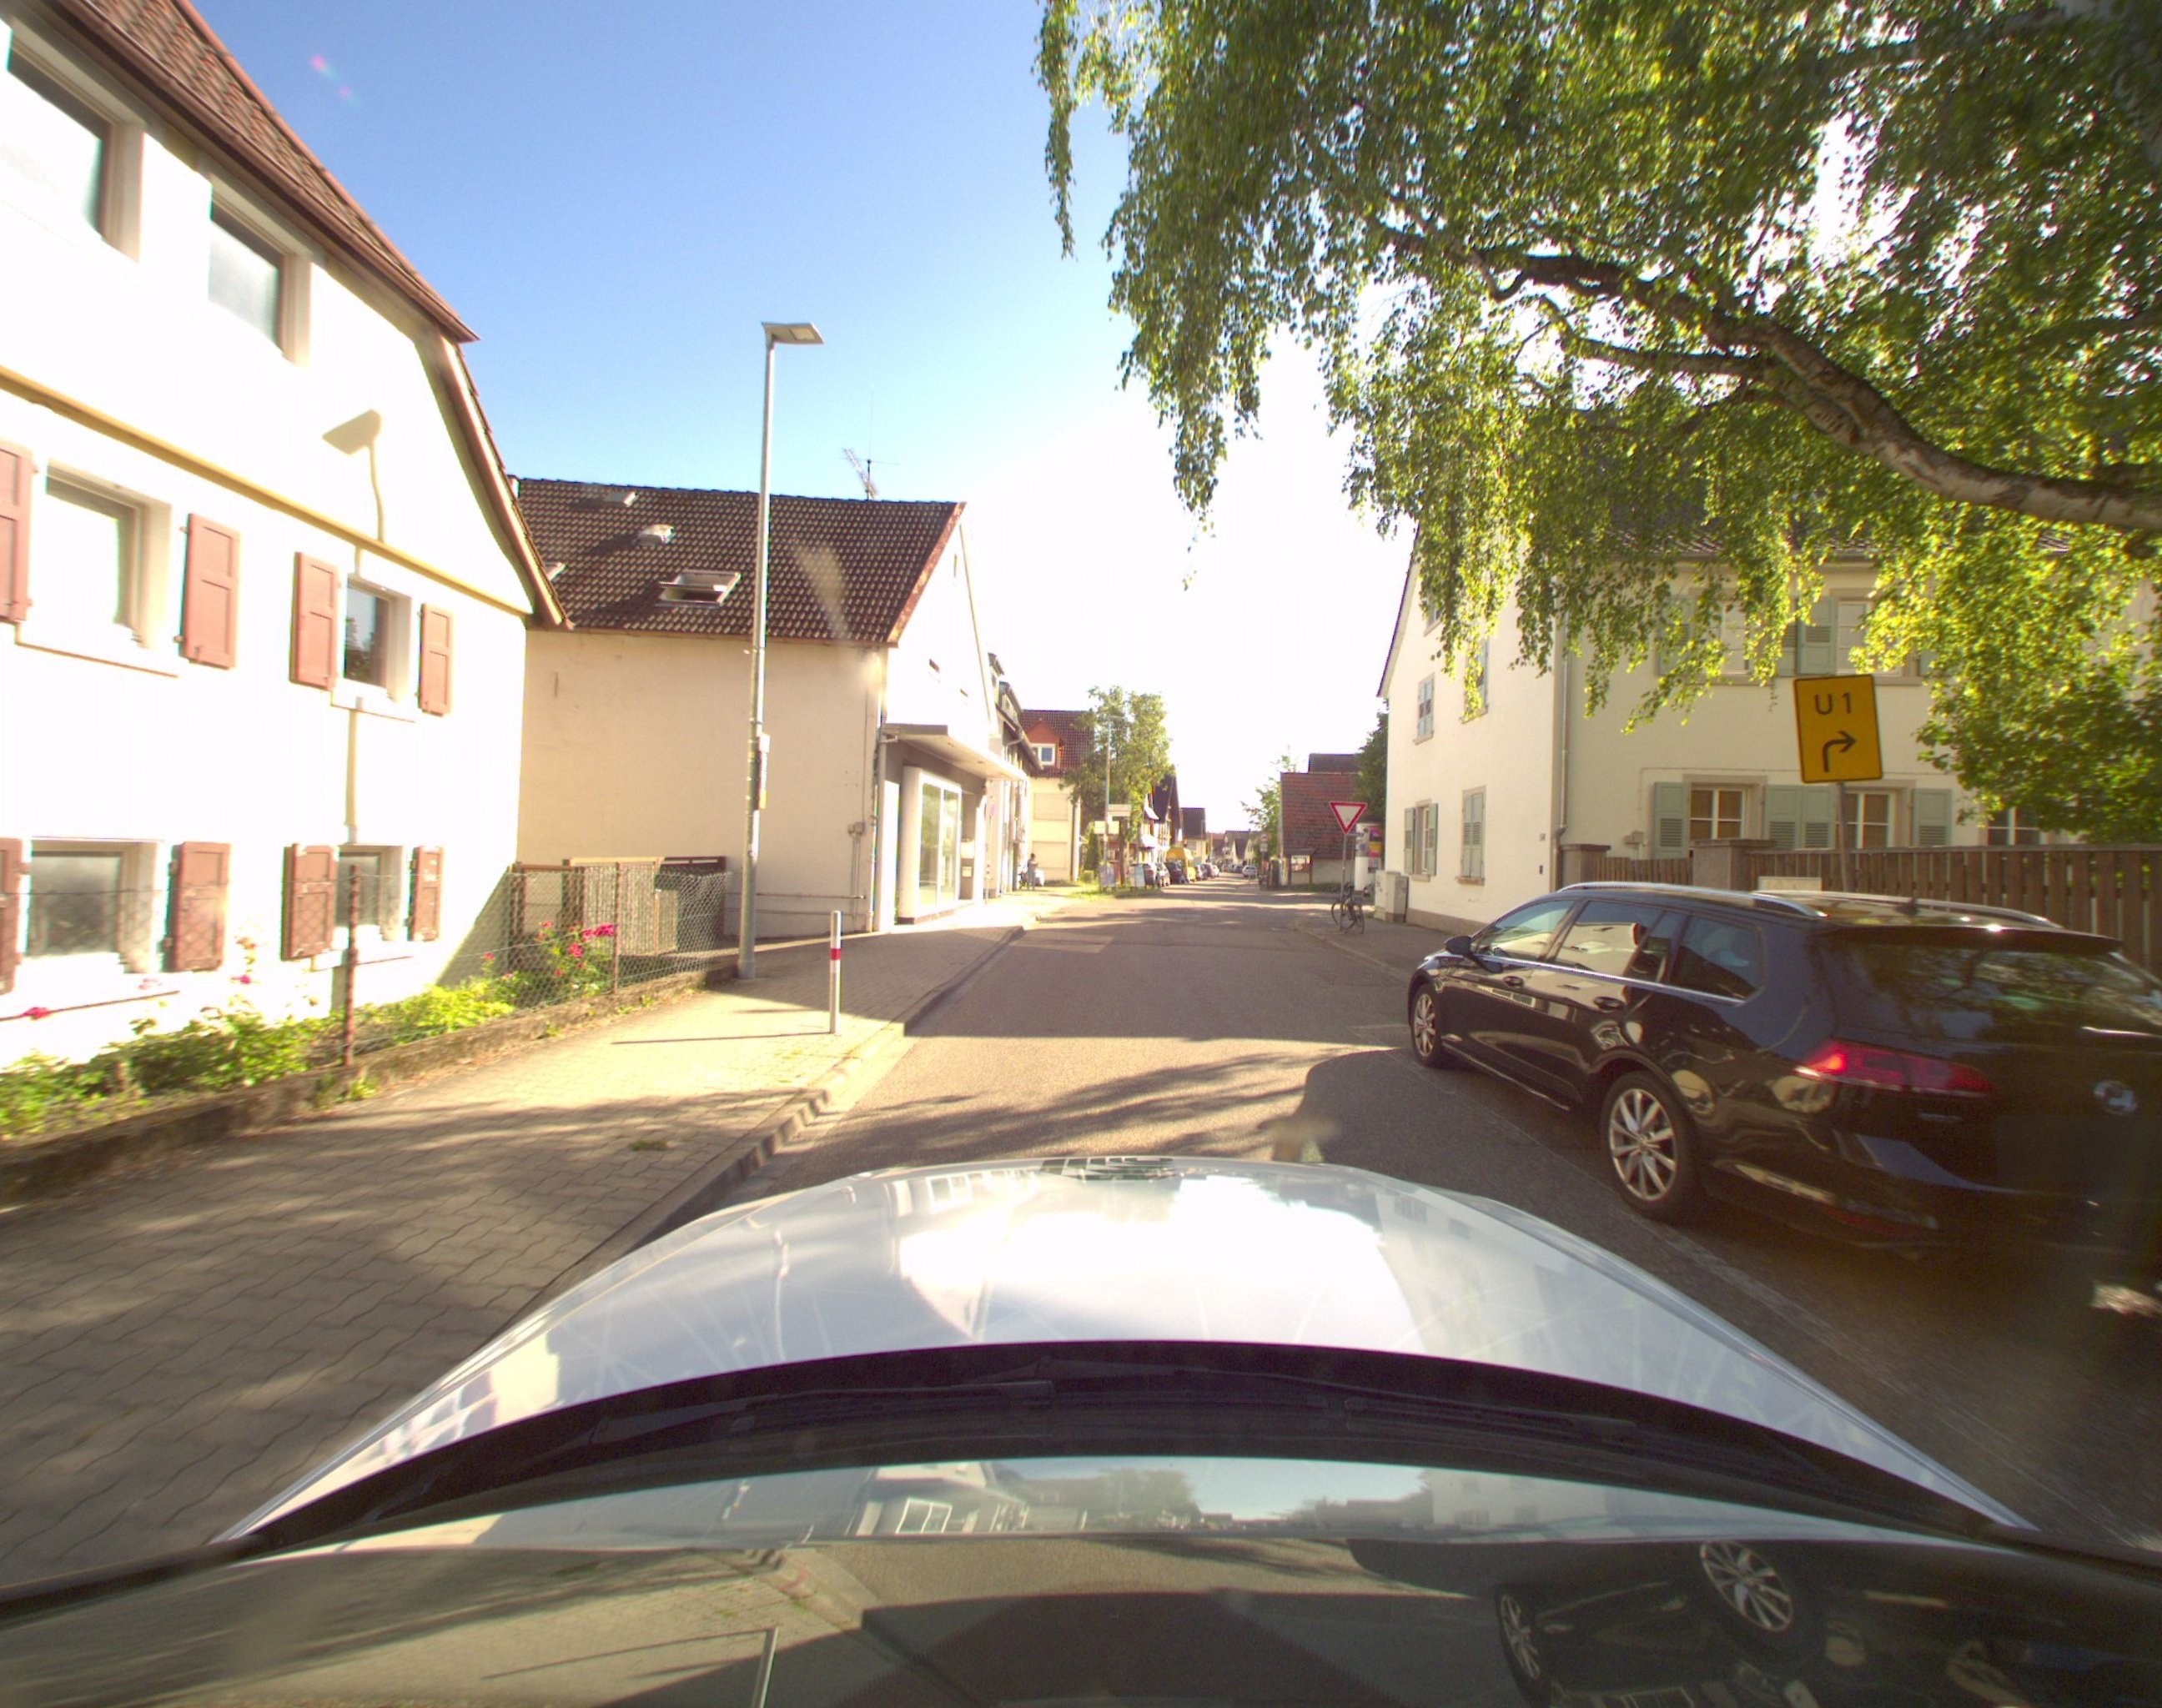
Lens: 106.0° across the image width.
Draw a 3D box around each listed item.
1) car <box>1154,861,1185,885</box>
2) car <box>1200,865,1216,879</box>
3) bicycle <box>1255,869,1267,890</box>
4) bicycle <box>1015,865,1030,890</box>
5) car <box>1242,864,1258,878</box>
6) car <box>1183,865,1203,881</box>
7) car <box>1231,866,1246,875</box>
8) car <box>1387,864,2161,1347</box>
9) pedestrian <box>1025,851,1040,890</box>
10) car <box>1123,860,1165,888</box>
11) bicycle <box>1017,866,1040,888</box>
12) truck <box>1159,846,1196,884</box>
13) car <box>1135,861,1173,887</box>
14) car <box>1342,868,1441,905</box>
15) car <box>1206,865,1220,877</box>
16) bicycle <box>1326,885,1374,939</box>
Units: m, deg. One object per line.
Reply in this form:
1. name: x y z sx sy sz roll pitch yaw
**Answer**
1. car: 6.618 1.399 60.524 1.794 1.622 3.893 2 -1 12
2. car: 13.698 1.923 87.646 1.578 1.443 3.624 2 -1 10
3. bicycle: 10.670 1.504 48.121 0.430 1.176 1.838 1 -1 20
4. bicycle: -2.587 1.046 35.835 0.421 1.052 1.383 1 -2 4
5. car: 22.951 2.289 110.872 1.961 1.714 4.005 2 -1 10
6. car: 10.278 1.735 74.730 1.635 1.433 3.624 2 -1 10
7. car: 29.572 3.032 153.210 1.968 1.583 3.992 2 -1 -2
8. car: 3.372 0.835 4.734 1.799 1.436 4.290 2 0 4
9. pedestrian: -2.143 0.713 35.978 0.481 1.693 0.558 2 -3 7
10. car: 3.734 1.181 47.468 1.855 1.506 4.121 2 -1 13
11. bicycle: -2.505 1.111 39.254 0.574 1.052 2.042 1 -2 11
12. truck: 7.872 0.928 65.887 2.253 2.869 5.801 2 -1 13
13. car: 4.678 1.256 51.773 1.794 1.506 4.121 2 -1 13
14. car: 14.444 1.497 37.998 3.971 1.477 1.666 3 -1 2
15. car: 16.125 2.066 99.354 1.578 1.443 3.624 2 -1 10
16. bicycle: 6.043 1.277 18.383 0.433 1.080 1.889 1 -1 -1
